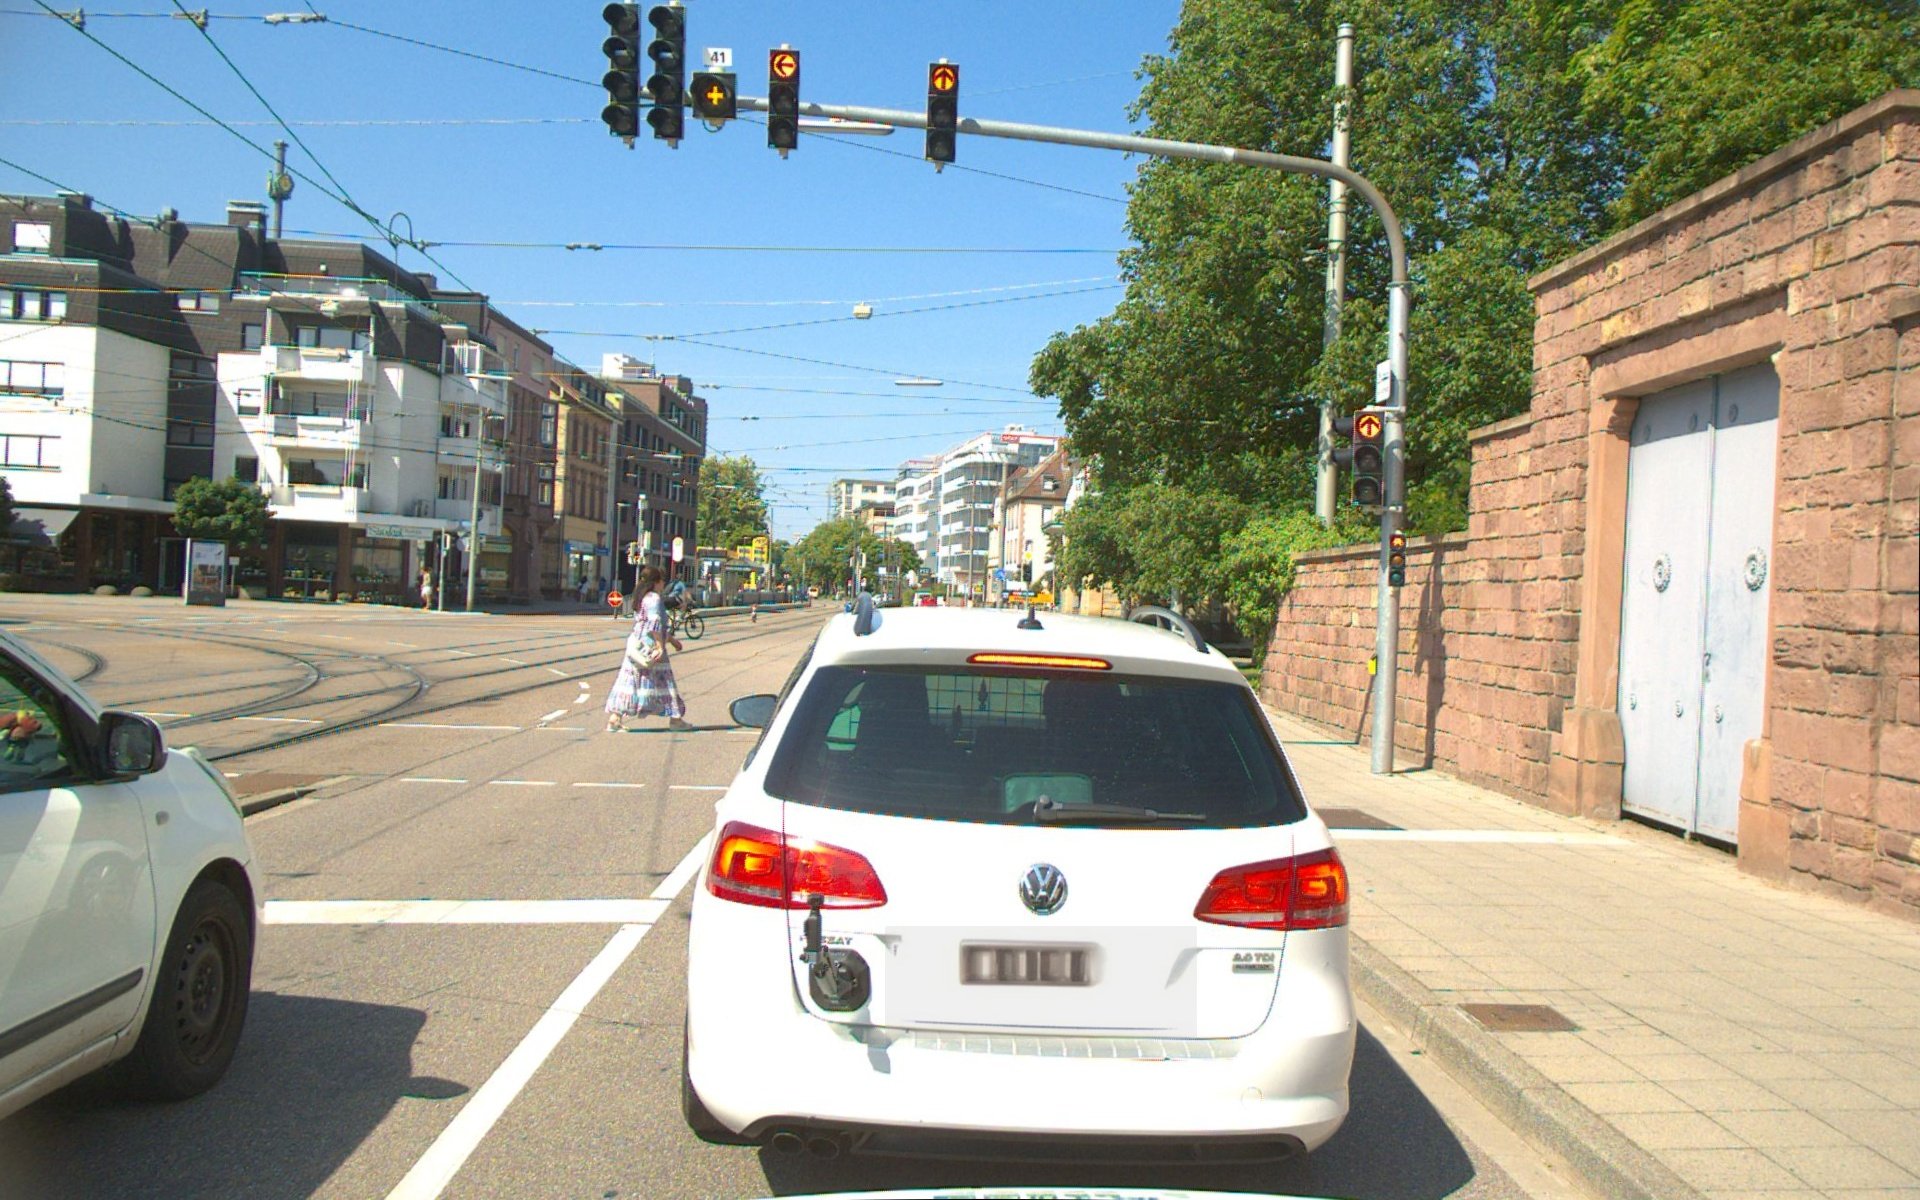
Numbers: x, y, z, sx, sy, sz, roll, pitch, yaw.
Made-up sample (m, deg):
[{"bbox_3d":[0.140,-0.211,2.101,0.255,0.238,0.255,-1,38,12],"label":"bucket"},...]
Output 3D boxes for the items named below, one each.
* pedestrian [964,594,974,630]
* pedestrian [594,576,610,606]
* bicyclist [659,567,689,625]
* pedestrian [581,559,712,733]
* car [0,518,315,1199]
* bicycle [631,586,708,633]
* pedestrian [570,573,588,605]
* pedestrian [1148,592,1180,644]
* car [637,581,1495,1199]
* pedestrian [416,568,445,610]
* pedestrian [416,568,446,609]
[{"bbox_3d":[0.586,0.794,109.932,0.675,2.366,1.232,0,-1,0],"label":"pedestrian"},{"bbox_3d":[-21.568,-0.527,99.586,0.845,1.773,0.973,1,-1,-6],"label":"pedestrian"},{"bbox_3d":[-8.221,-0.102,47.508,0.633,1.641,0.554,1,-1,-43],"label":"bicyclist"},{"bbox_3d":[-3.151,0.452,16.606,0.964,1.680,0.943,1,-1,-37],"label":"pedestrian"},{"bbox_3d":[-2.840,0.616,3.368,1.608,1.593,3.803,1,1,-1],"label":"car"},{"bbox_3d":[-8.311,0.284,47.425,2.231,1.320,0.551,1,-1,-44],"label":"bicycle"},{"bbox_3d":[-21.483,-0.613,93.331,0.845,1.773,0.973,1,-1,-6],"label":"pedestrian"},{"bbox_3d":[7.030,0.620,57.070,0.951,1.773,0.865,0,-1,18],"label":"pedestrian"},{"bbox_3d":[0.190,0.716,5.472,1.771,1.473,3.999,2,0,-1],"label":"car"},{"bbox_3d":[-22.553,-0.458,70.414,0.964,1.773,0.854,1,-1,-35],"label":"pedestrian"},{"bbox_3d":[-22.852,-0.493,71.468,0.968,1.773,0.850,1,-1,-45],"label":"pedestrian"}]
